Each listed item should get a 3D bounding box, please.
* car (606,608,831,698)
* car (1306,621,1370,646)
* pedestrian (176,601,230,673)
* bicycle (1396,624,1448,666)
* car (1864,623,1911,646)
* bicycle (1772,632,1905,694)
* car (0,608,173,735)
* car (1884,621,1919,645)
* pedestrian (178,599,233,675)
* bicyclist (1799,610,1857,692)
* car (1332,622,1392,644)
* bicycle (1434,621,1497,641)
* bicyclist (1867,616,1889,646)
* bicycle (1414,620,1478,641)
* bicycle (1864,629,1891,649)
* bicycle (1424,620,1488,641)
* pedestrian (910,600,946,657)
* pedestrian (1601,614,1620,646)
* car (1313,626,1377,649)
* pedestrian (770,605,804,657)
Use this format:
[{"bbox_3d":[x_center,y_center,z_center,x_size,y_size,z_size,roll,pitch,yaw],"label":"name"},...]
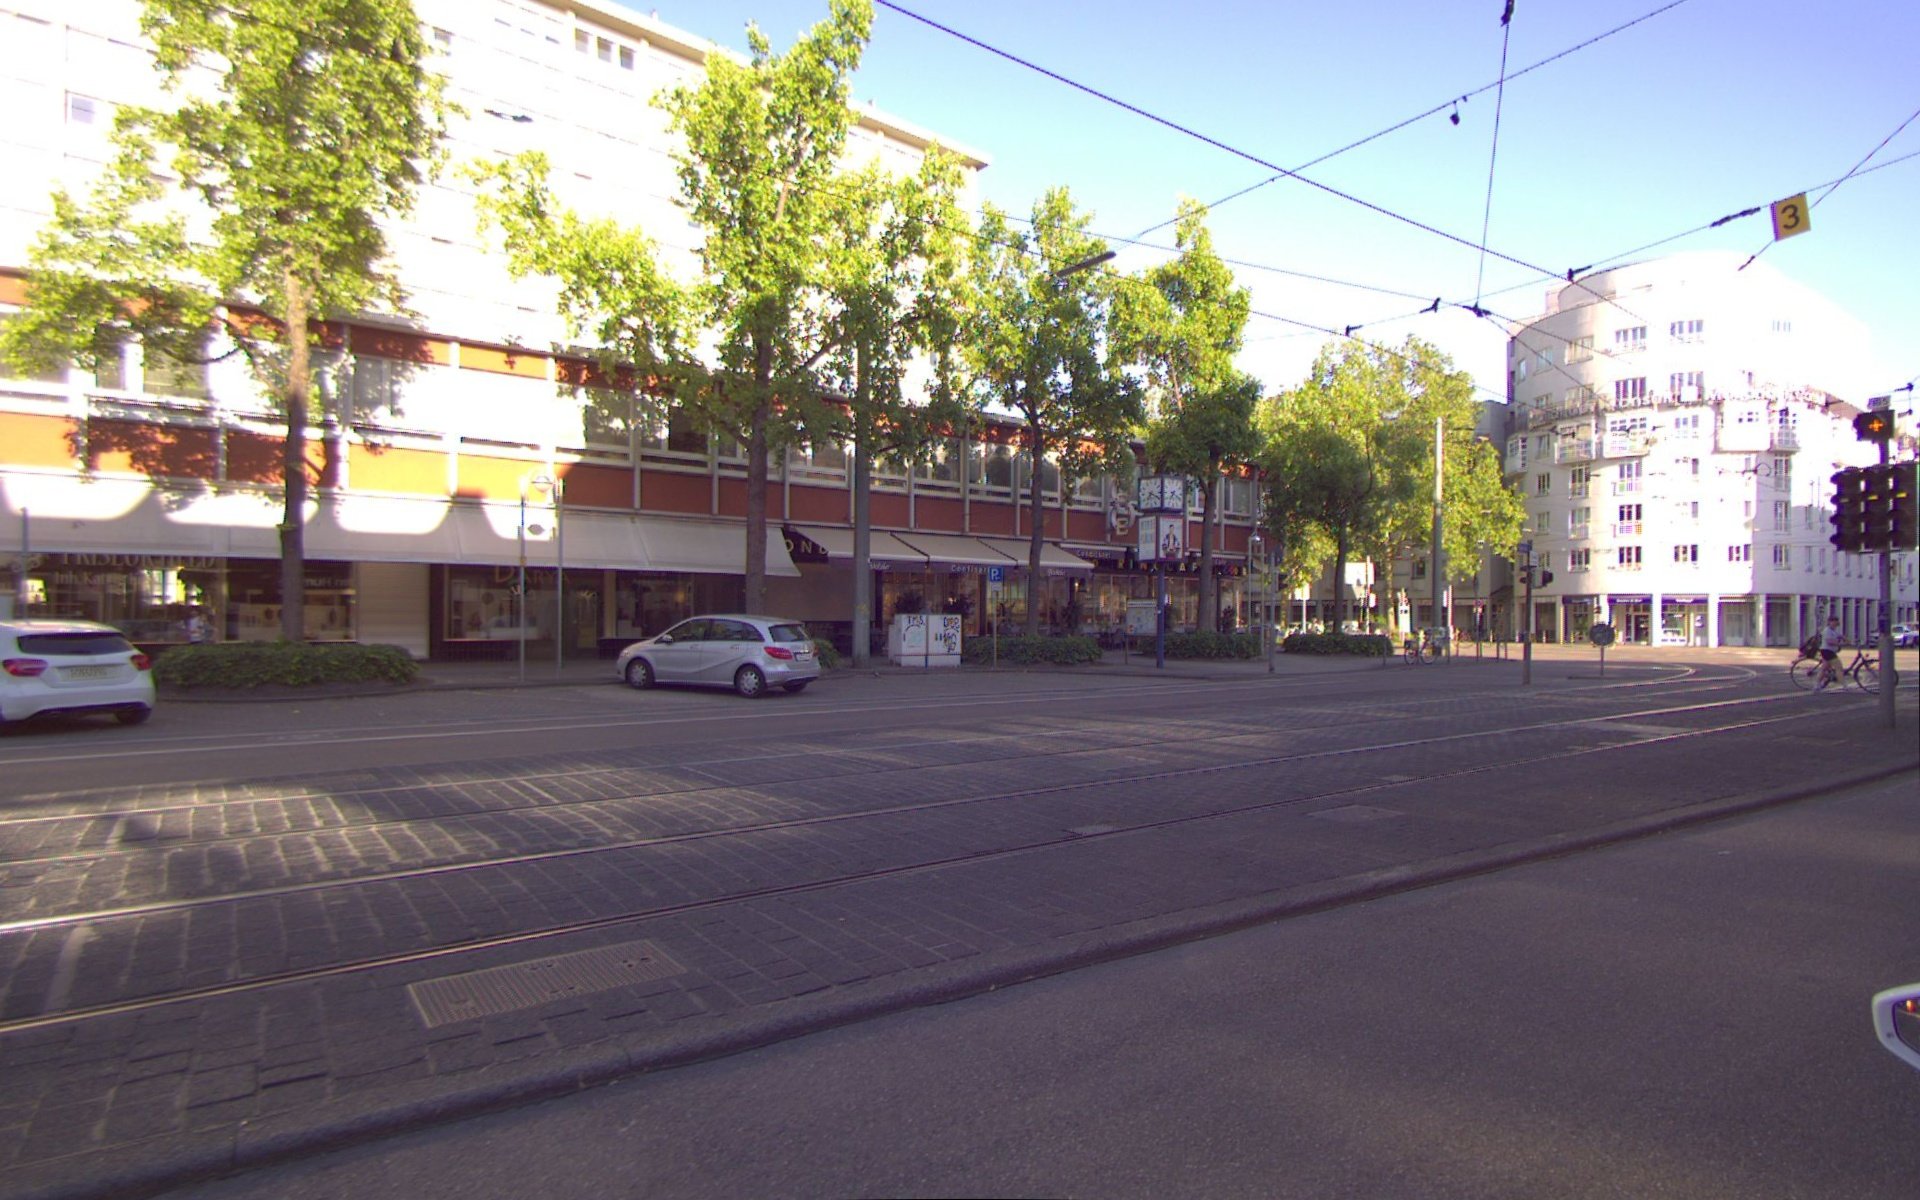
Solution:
[{"bbox_3d":[-4.950,1.019,20.597,4.197,1.587,1.826,1,0,23],"label":"car"},{"bbox_3d":[24.638,2.171,65.592,1.607,1.579,3.996,0,-1,-23],"label":"car"},{"bbox_3d":[-16.080,0.774,21.341,0.892,1.490,0.682,1,-1,-39],"label":"pedestrian"},{"bbox_3d":[15.514,1.490,33.701,1.886,1.345,0.667,1,2,-34],"label":"bicycle"},{"bbox_3d":[64.177,2.386,69.461,3.427,1.566,1.754,1,-1,-36],"label":"car"},{"bbox_3d":[18.346,1.287,21.021,0.621,1.193,2.006,1,-1,-33],"label":"bicycle"},{"bbox_3d":[-13.274,0.893,14.059,4.188,1.448,1.766,2,0,23],"label":"car"},{"bbox_3d":[69.868,2.444,74.243,3.531,1.741,1.689,1,-1,-37],"label":"car"},{"bbox_3d":[-15.625,0.759,20.800,0.892,1.517,0.682,1,-1,-39],"label":"pedestrian"},{"bbox_3d":[17.989,1.044,20.819,0.757,1.648,0.725,1,-1,-33],"label":"bicyclist"},{"bbox_3d":[29.569,2.440,74.032,1.598,1.551,3.967,0,-1,-31],"label":"car"},{"bbox_3d":[40.328,2.430,80.208,1.055,1.550,4.677,1,-1,-32],"label":"bicycle"},{"bbox_3d":[54.116,1.831,59.204,0.787,1.749,0.802,1,-1,-36],"label":"bicyclist"},{"bbox_3d":[38.087,2.382,78.772,1.055,1.550,4.677,1,-1,-32],"label":"bicycle"},{"bbox_3d":[54.053,2.283,59.155,2.030,1.162,0.802,1,-1,-37],"label":"bicycle"},{"bbox_3d":[39.088,2.394,79.300,1.055,1.550,4.677,1,-1,-32],"label":"bicycle"},{"bbox_3d":[-1.008,0.874,31.412,0.867,1.745,0.699,0,1,-37],"label":"pedestrian"},{"bbox_3d":[42.263,1.949,65.248,0.929,2.040,0.939,0,-1,26],"label":"pedestrian"},{"bbox_3d":[23.086,2.211,60.373,1.739,1.312,4.011,0,-1,-10],"label":"car"},{"bbox_3d":[-5.305,0.939,30.792,0.700,1.584,0.866,1,-1,-36],"label":"pedestrian"}]
